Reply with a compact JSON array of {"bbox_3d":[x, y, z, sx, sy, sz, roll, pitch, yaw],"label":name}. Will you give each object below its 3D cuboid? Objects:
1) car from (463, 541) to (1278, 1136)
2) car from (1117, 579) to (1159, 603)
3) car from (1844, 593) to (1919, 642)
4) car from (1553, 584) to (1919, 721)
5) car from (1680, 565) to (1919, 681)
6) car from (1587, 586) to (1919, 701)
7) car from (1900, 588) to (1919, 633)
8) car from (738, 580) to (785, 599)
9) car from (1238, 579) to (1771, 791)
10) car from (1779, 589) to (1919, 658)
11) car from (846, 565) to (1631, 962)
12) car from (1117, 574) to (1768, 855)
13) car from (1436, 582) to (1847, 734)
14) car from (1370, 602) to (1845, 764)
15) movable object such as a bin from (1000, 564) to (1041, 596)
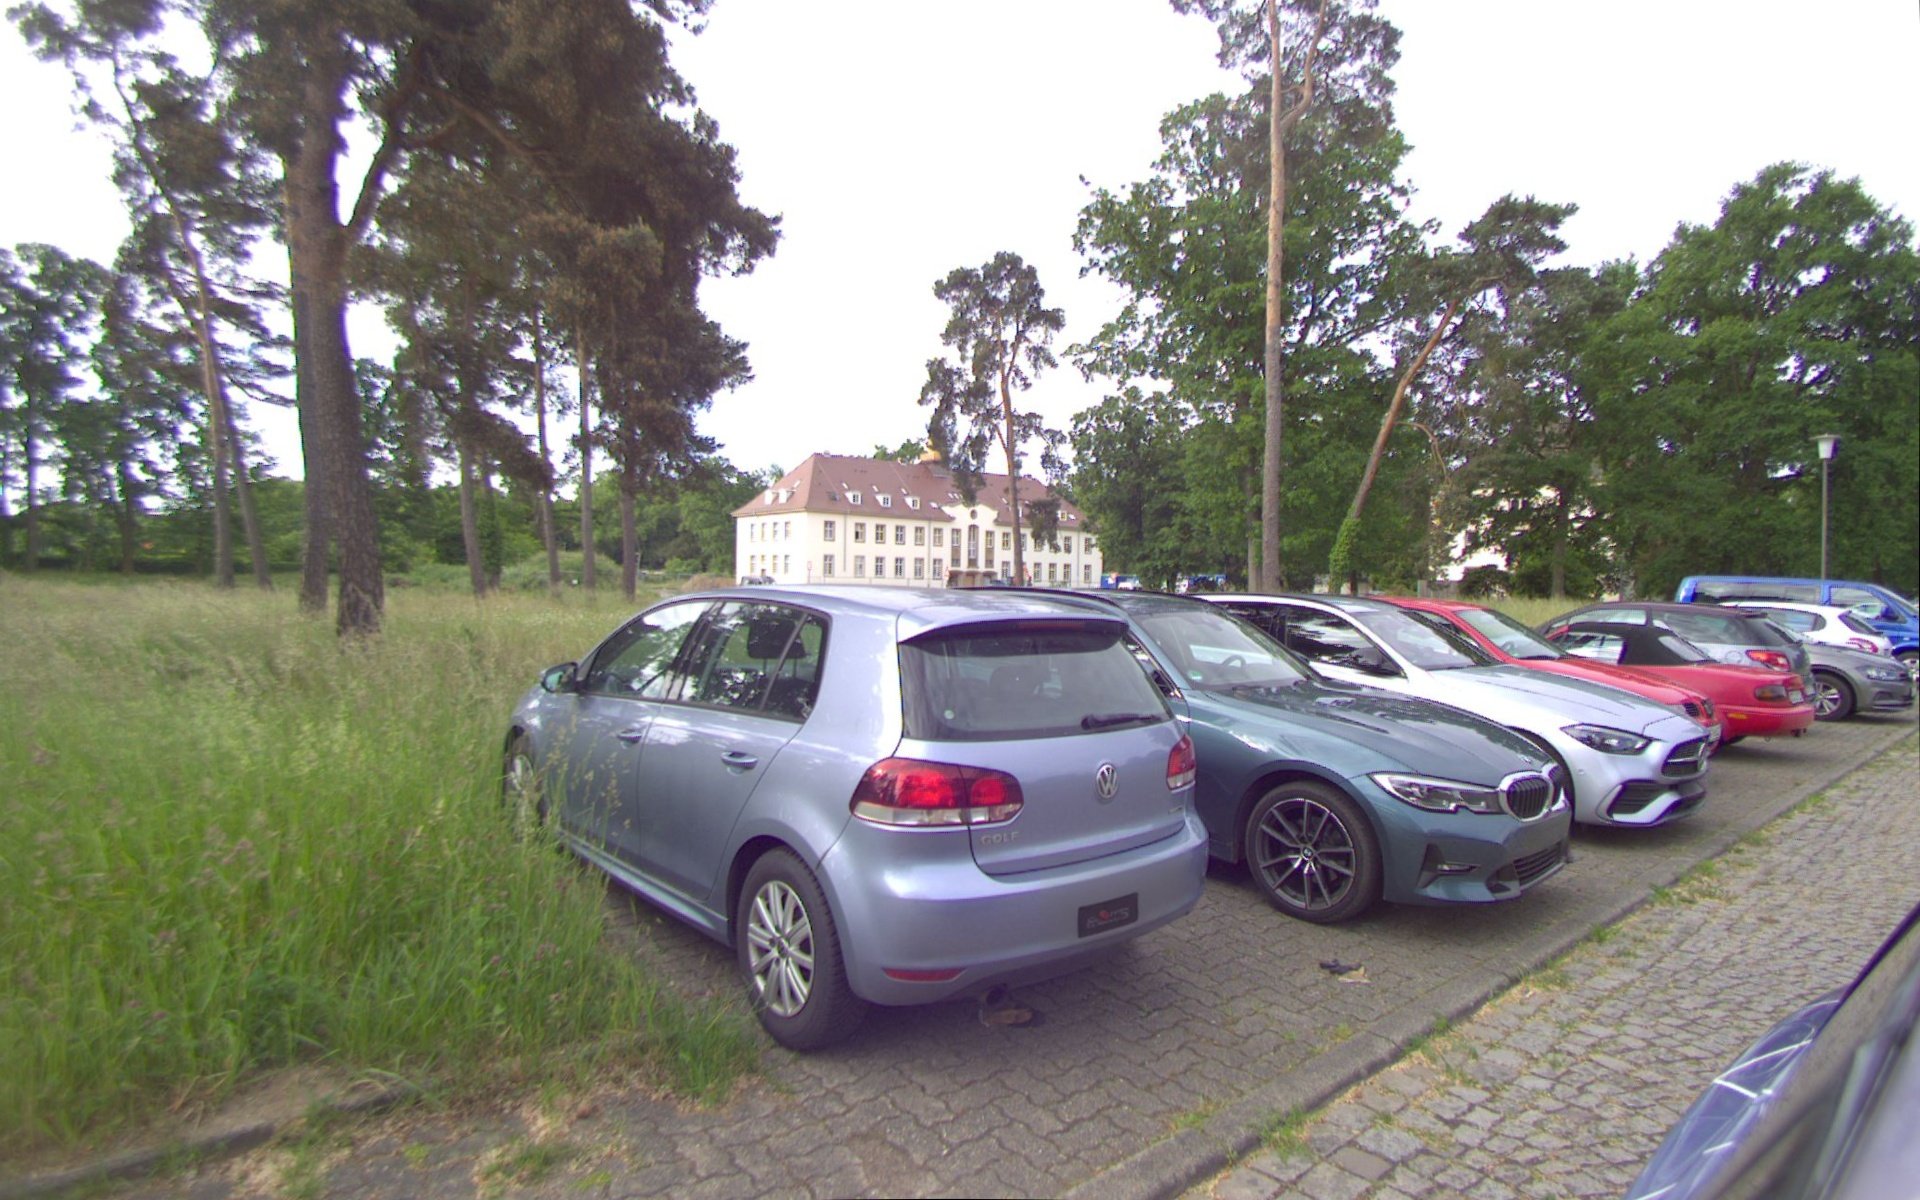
[{"bbox_3d":[-0.805,0.528,4.650,1.668,1.446,4.009,0,4,-41],"label":"car"},{"bbox_3d":[18.512,-0.966,105.142,4.369,2.394,1.861,-1,0,-40],"label":"car"},{"bbox_3d":[31.173,0.594,32.387,1.695,1.462,4.085,0,2,-38],"label":"car"},{"bbox_3d":[10.976,0.610,14.337,1.669,1.535,4.100,1,2,-37],"label":"car"},{"bbox_3d":[17.121,0.382,19.761,1.877,2.030,4.604,0,2,-38],"label":"car"},{"bbox_3d":[12.849,0.600,16.578,1.571,1.535,4.053,1,2,-37],"label":"car"},{"bbox_3d":[39.053,0.485,38.810,1.692,1.716,4.090,1,2,-33],"label":"car"},{"bbox_3d":[-20.916,-1.105,106.564,2.159,1.985,5.781,-1,0,-44],"label":"car"},{"bbox_3d":[4.966,0.609,9.770,1.686,1.500,4.184,0,2,-39],"label":"car"},{"bbox_3d":[23.589,0.587,25.657,1.623,1.613,4.086,1,2,-37],"label":"car"},{"bbox_3d":[1.260,0.590,6.201,1.635,1.400,4.438,0,4,-41],"label":"car"},{"bbox_3d":[3.375,0.604,7.875,1.685,1.492,4.250,1,2,-37],"label":"car"},{"bbox_3d":[8.504,0.599,12.974,1.571,1.535,4.053,1,2,-37],"label":"car"},{"bbox_3d":[6.762,0.736,10.966,1.522,1.255,4.050,0,2,-39],"label":"car"},{"bbox_3d":[7.271,-2.408,122.197,2.014,3.817,5.462,0,0,-36],"label":"movable object such as a bin"}]
